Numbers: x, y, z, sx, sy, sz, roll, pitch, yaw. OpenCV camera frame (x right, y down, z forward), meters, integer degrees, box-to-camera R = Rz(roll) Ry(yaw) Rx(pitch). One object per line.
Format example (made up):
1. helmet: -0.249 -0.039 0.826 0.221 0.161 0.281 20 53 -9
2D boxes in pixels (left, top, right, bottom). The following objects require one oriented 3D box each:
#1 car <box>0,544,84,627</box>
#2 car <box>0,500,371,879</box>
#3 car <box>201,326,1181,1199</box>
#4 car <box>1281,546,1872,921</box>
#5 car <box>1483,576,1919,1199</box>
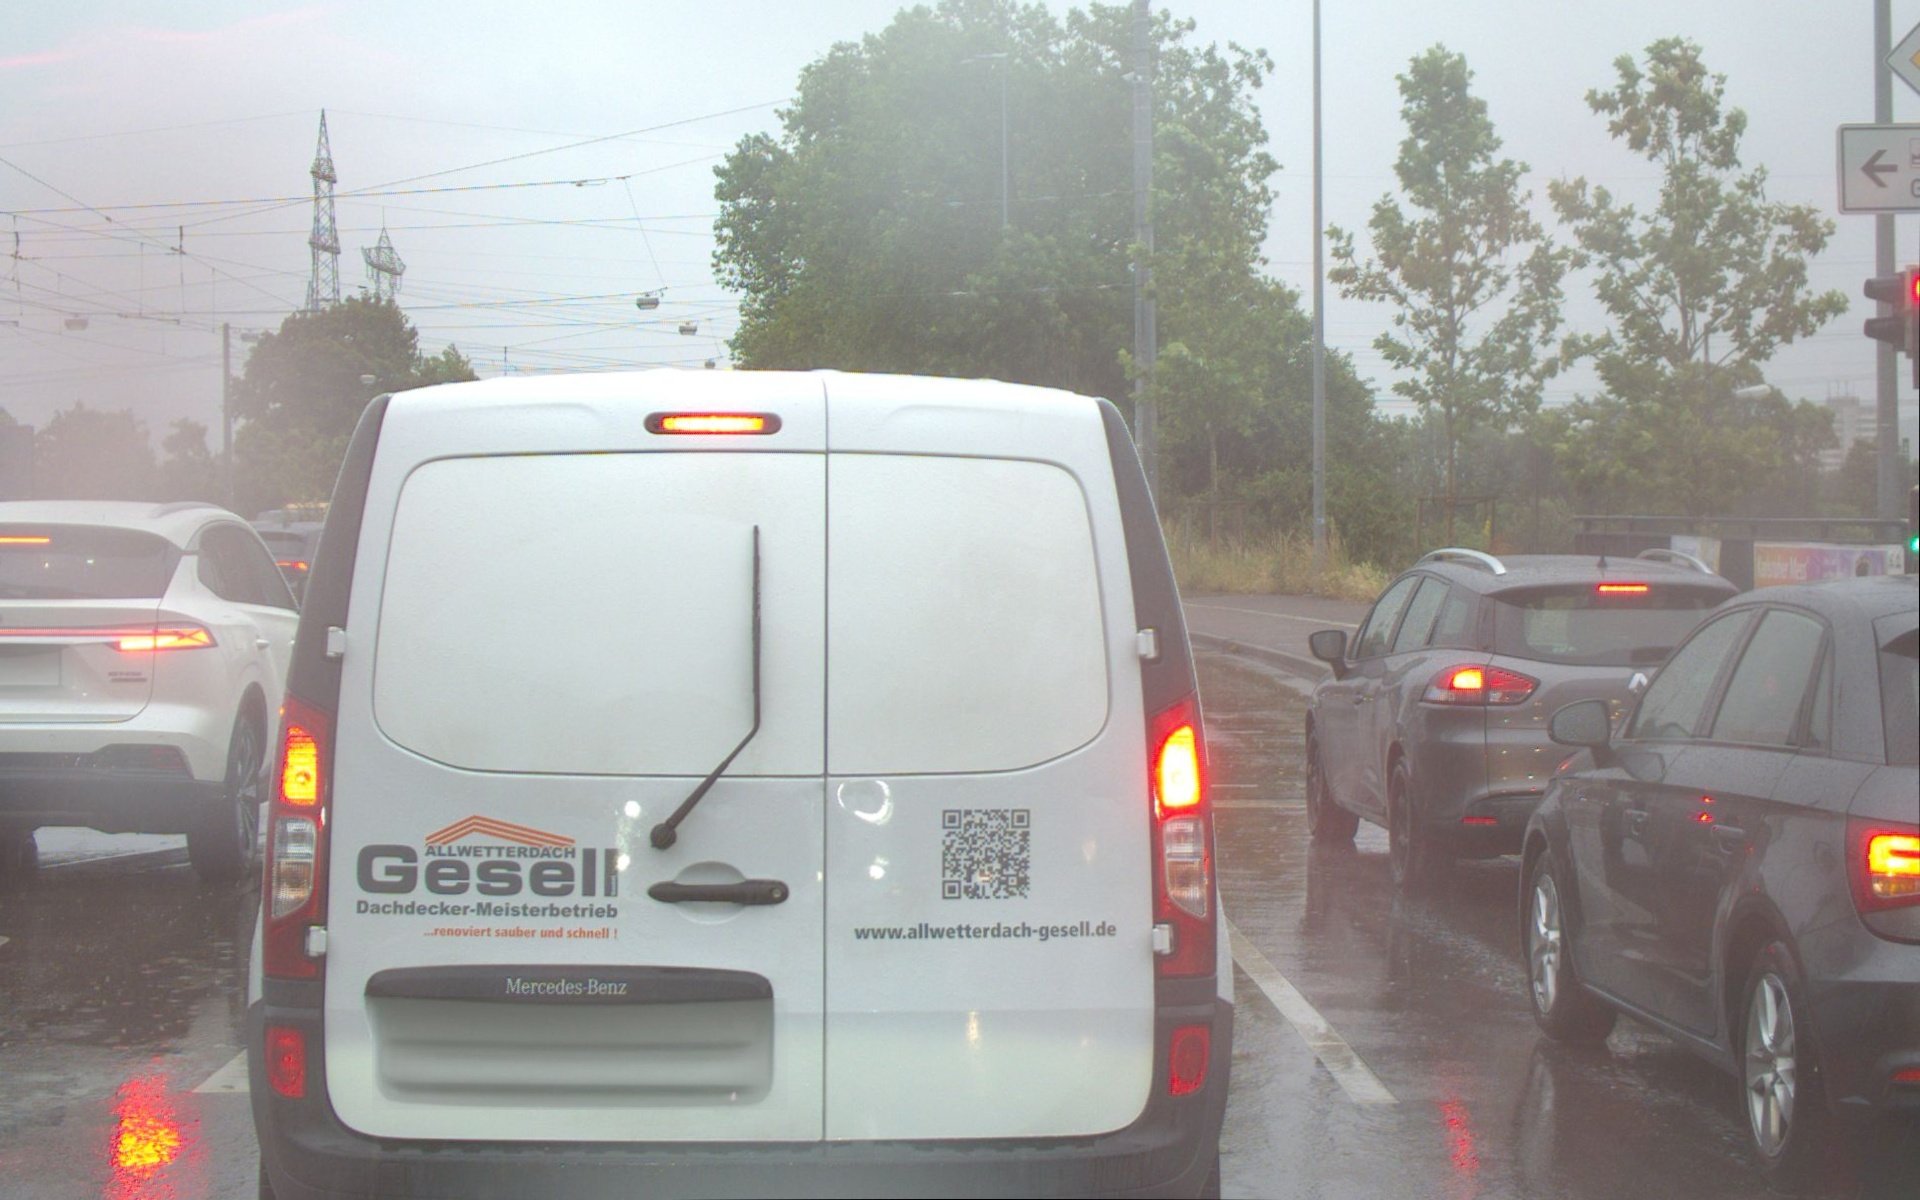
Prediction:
1. car: -21.339 -0.343 77.426 1.929 1.820 3.999 1 1 4
2. car: -3.940 0.304 16.099 1.728 1.530 4.298 1 1 -2
3. car: -0.453 0.431 7.516 1.566 1.782 4.000 0 1 -1
4. car: 2.616 0.501 15.508 1.859 1.424 3.808 1 1 -2
5. car: 2.506 0.628 8.921 1.629 1.340 3.624 1 1 -2
